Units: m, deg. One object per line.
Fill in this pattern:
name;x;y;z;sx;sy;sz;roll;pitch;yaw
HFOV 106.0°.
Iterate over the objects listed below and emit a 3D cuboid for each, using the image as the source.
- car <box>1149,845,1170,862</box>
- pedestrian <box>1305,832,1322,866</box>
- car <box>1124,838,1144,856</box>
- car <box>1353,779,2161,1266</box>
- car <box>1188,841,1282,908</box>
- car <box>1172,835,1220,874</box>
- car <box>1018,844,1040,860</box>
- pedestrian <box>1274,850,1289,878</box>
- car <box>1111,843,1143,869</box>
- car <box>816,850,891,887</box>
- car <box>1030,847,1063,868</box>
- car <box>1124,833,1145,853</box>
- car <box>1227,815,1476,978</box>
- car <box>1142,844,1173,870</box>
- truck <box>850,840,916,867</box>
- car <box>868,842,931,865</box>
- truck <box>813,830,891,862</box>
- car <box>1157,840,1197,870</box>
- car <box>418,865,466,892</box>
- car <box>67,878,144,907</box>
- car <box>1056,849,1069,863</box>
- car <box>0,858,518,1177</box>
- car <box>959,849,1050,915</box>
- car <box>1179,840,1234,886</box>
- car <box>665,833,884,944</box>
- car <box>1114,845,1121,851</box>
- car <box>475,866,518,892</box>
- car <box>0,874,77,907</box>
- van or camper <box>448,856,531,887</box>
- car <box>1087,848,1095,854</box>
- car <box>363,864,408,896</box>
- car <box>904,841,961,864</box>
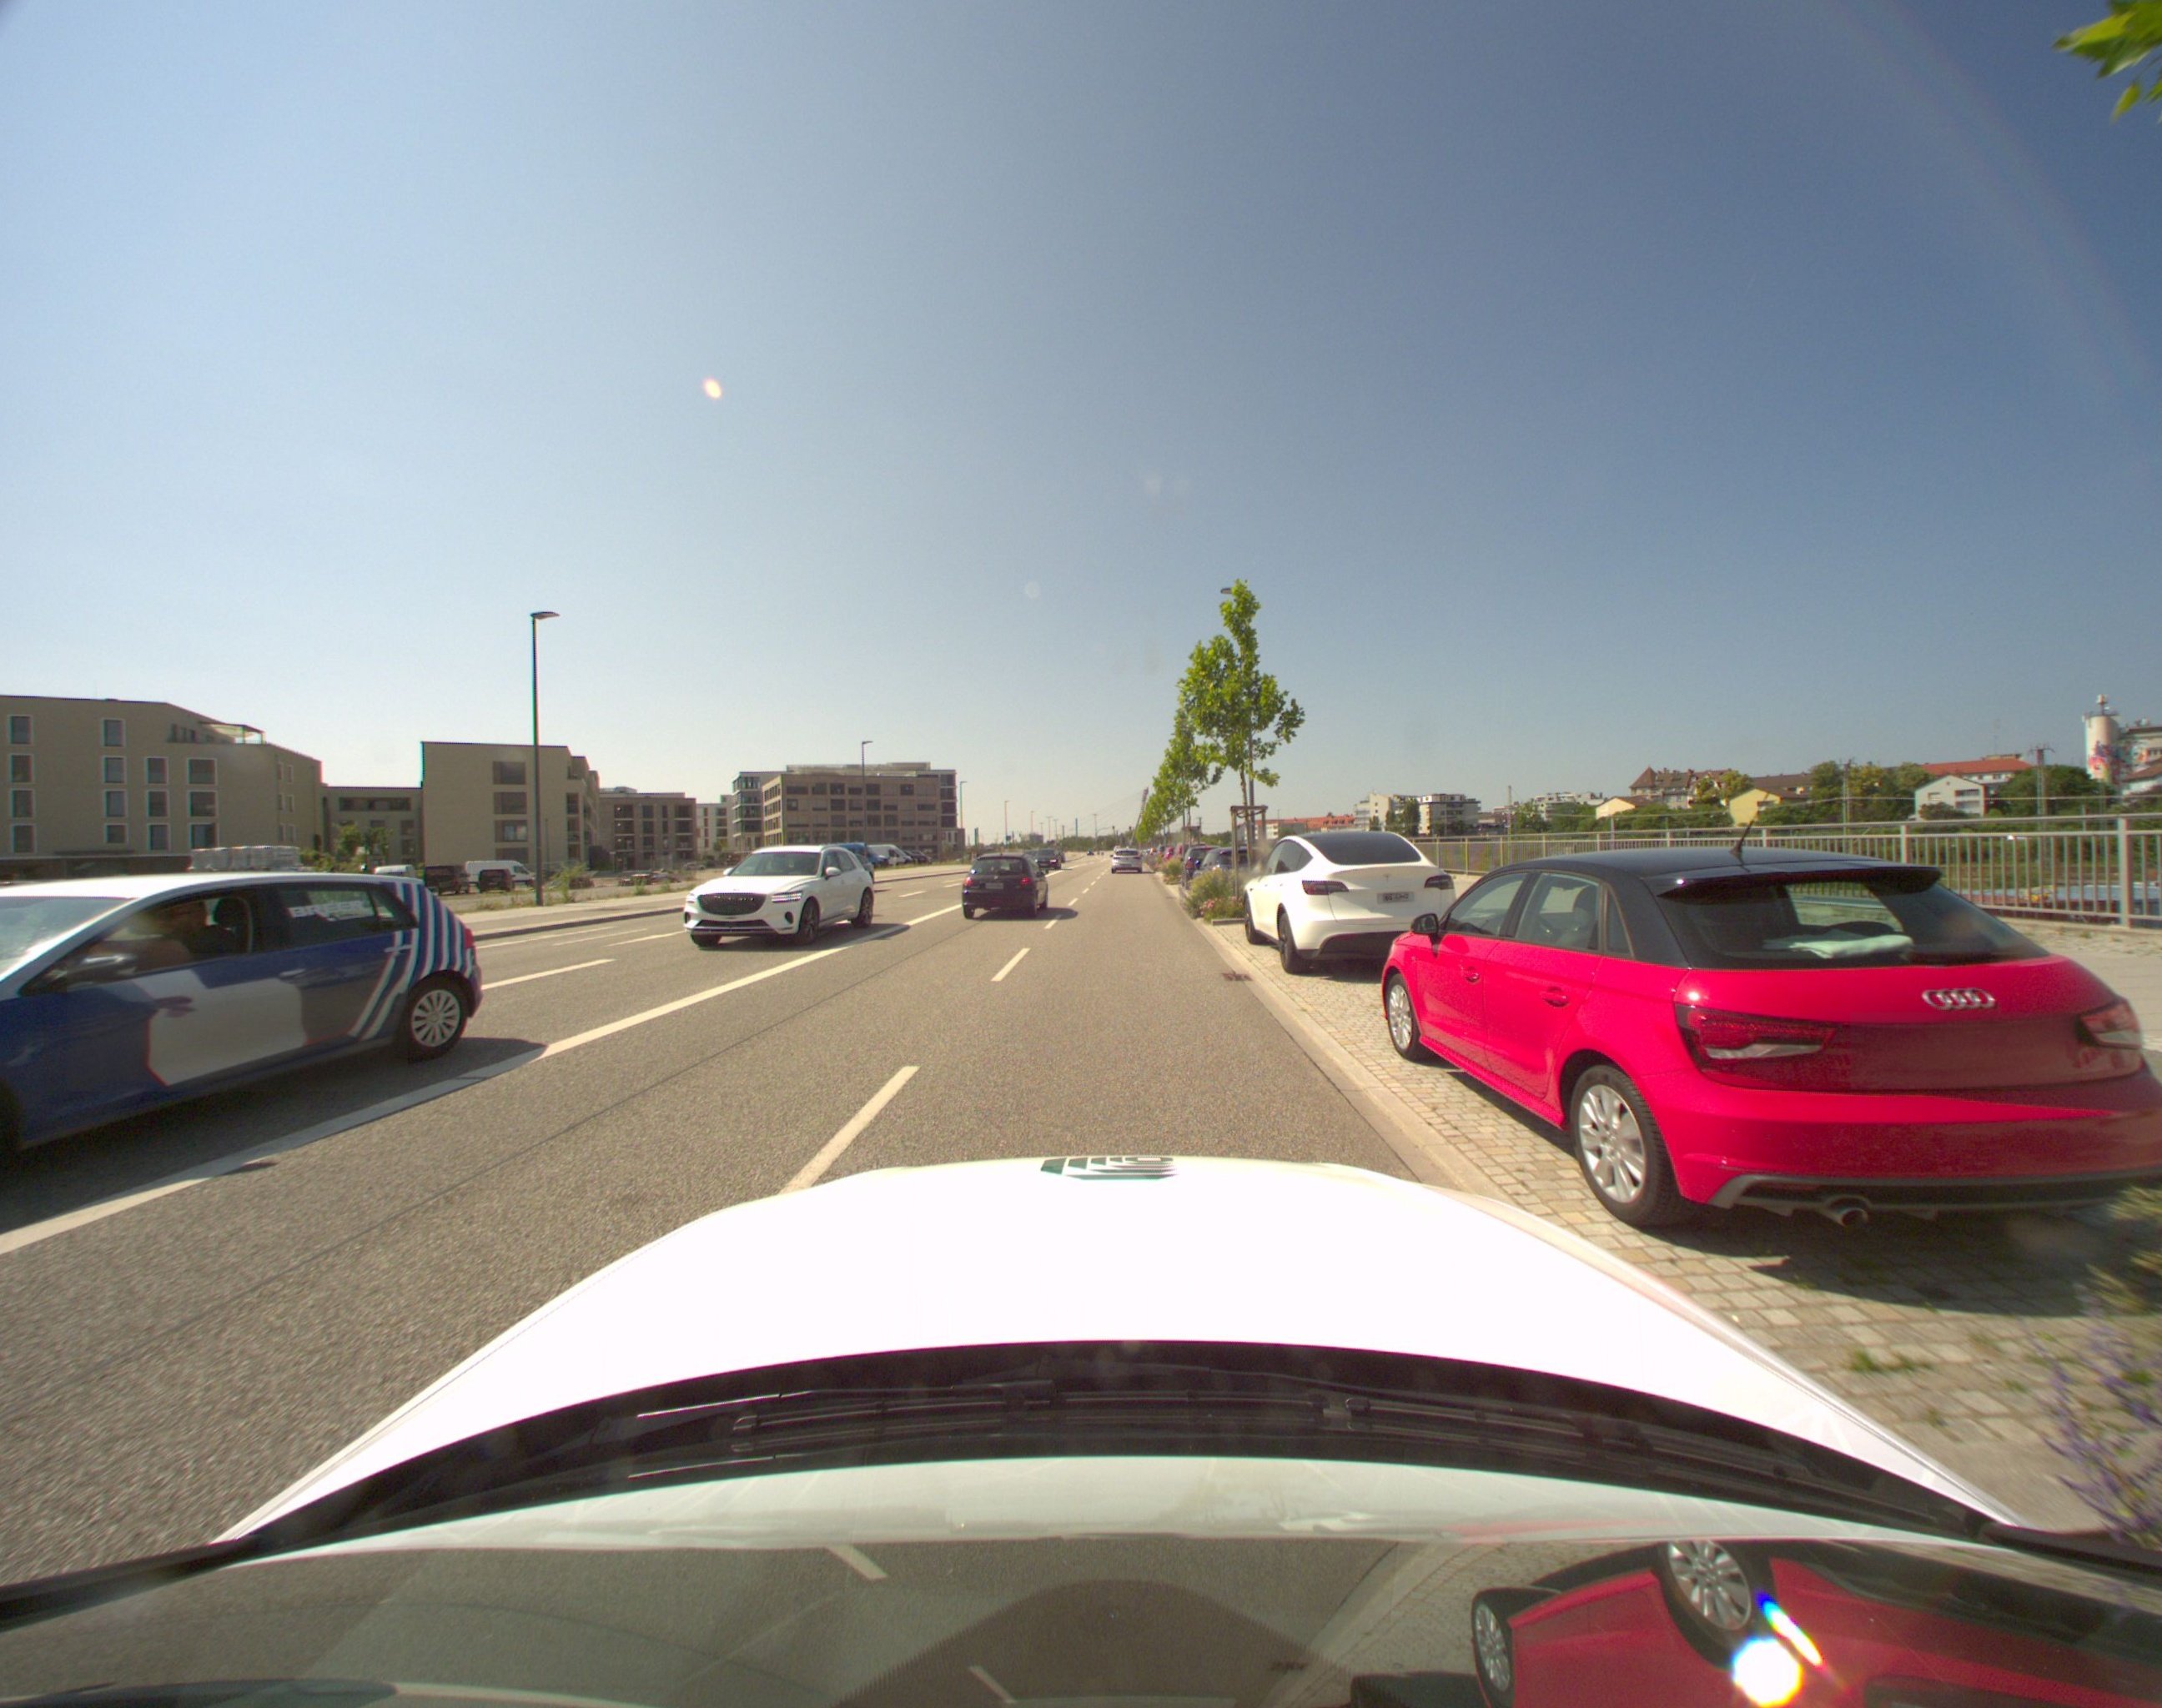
car;7.019;-0.078;73.214;1.710;1.451;4.004;0;1;3
pedestrian;11.828;-0.242;41.422;0.728;1.705;0.651;0;-1;4
car;4.991;-0.633;76.831;1.769;1.569;4.005;0;-1;5
car;3.082;0.510;4.554;1.985;1.519;4.004;-1;0;3
car;3.815;0.439;20.862;1.900;1.479;4.163;-2;1;5
car;5.257;-0.015;37.693;1.900;1.616;4.554;-2;1;4
car;-4.635;-0.155;73.212;1.788;1.416;3.998;0;-1;0
pedestrian;12.537;0.627;50.899;0.777;1.705;0.743;0;0;4
car;2.757;0.108;48.114;1.769;1.442;4.006;0;0;5
car;-9.247;0.592;33.398;1.885;1.415;3.601;0;-1;3
car;-2.380;0.211;57.052;1.779;1.398;4.577;0;0;5
car;5.042;-1.022;77.730;1.787;1.750;4.000;0;-1;1
car;3.252;0.433;10.926;1.865;1.627;4.880;-2;0;3
car;5.013;0.184;54.064;1.728;1.608;4.243;-3;0;2
truck;-18.768;-0.043;77.468;5.546;2.362;2.276;-2;0;1
car;-18.658;-0.085;83.953;5.862;2.165;2.396;-2;1;0
truck;-19.680;-0.670;70.270;5.982;2.543;2.276;-2;0;1
car;5.292;0.036;45.291;1.599;1.491;3.816;-3;0;-1
car;-48.132;1.839;61.437;2.004;1.848;3.966;-1;0;-26
car;-68.708;2.668;57.445;2.004;1.787;3.966;-1;0;-26
car;-2.235;0.250;98.654;1.574;1.563;3.672;0;-1;0
car;-5.757;0.764;4.766;1.779;1.421;4.285;-1;0;3
car;-1.703;0.593;19.213;1.613;1.416;3.730;0;0;3
car;4.465;0.274;29.369;1.612;1.479;3.829;-2;1;4
car;-5.259;0.524;14.791;1.905;1.649;4.735;-1;0;3
car;9.587;-1.557;212.367;1.847;1.649;4.003;0;0;3
car;-45.061;1.869;62.882;2.004;1.848;3.966;-1;0;-26
car;-70.988;2.429;55.283;2.004;2.013;3.966;-1;0;-26
van or camper;-53.919;1.555;74.301;5.958;2.558;1.914;-2;0;-38
car;2.360;-0.764;191.875;1.696;1.352;4.460;-2;0;3
car;-52.327;1.924;61.351;2.007;2.240;3.960;-1;0;-32
car;-15.581;-0.168;85.685;5.426;2.173;2.395;-2;0;-1
